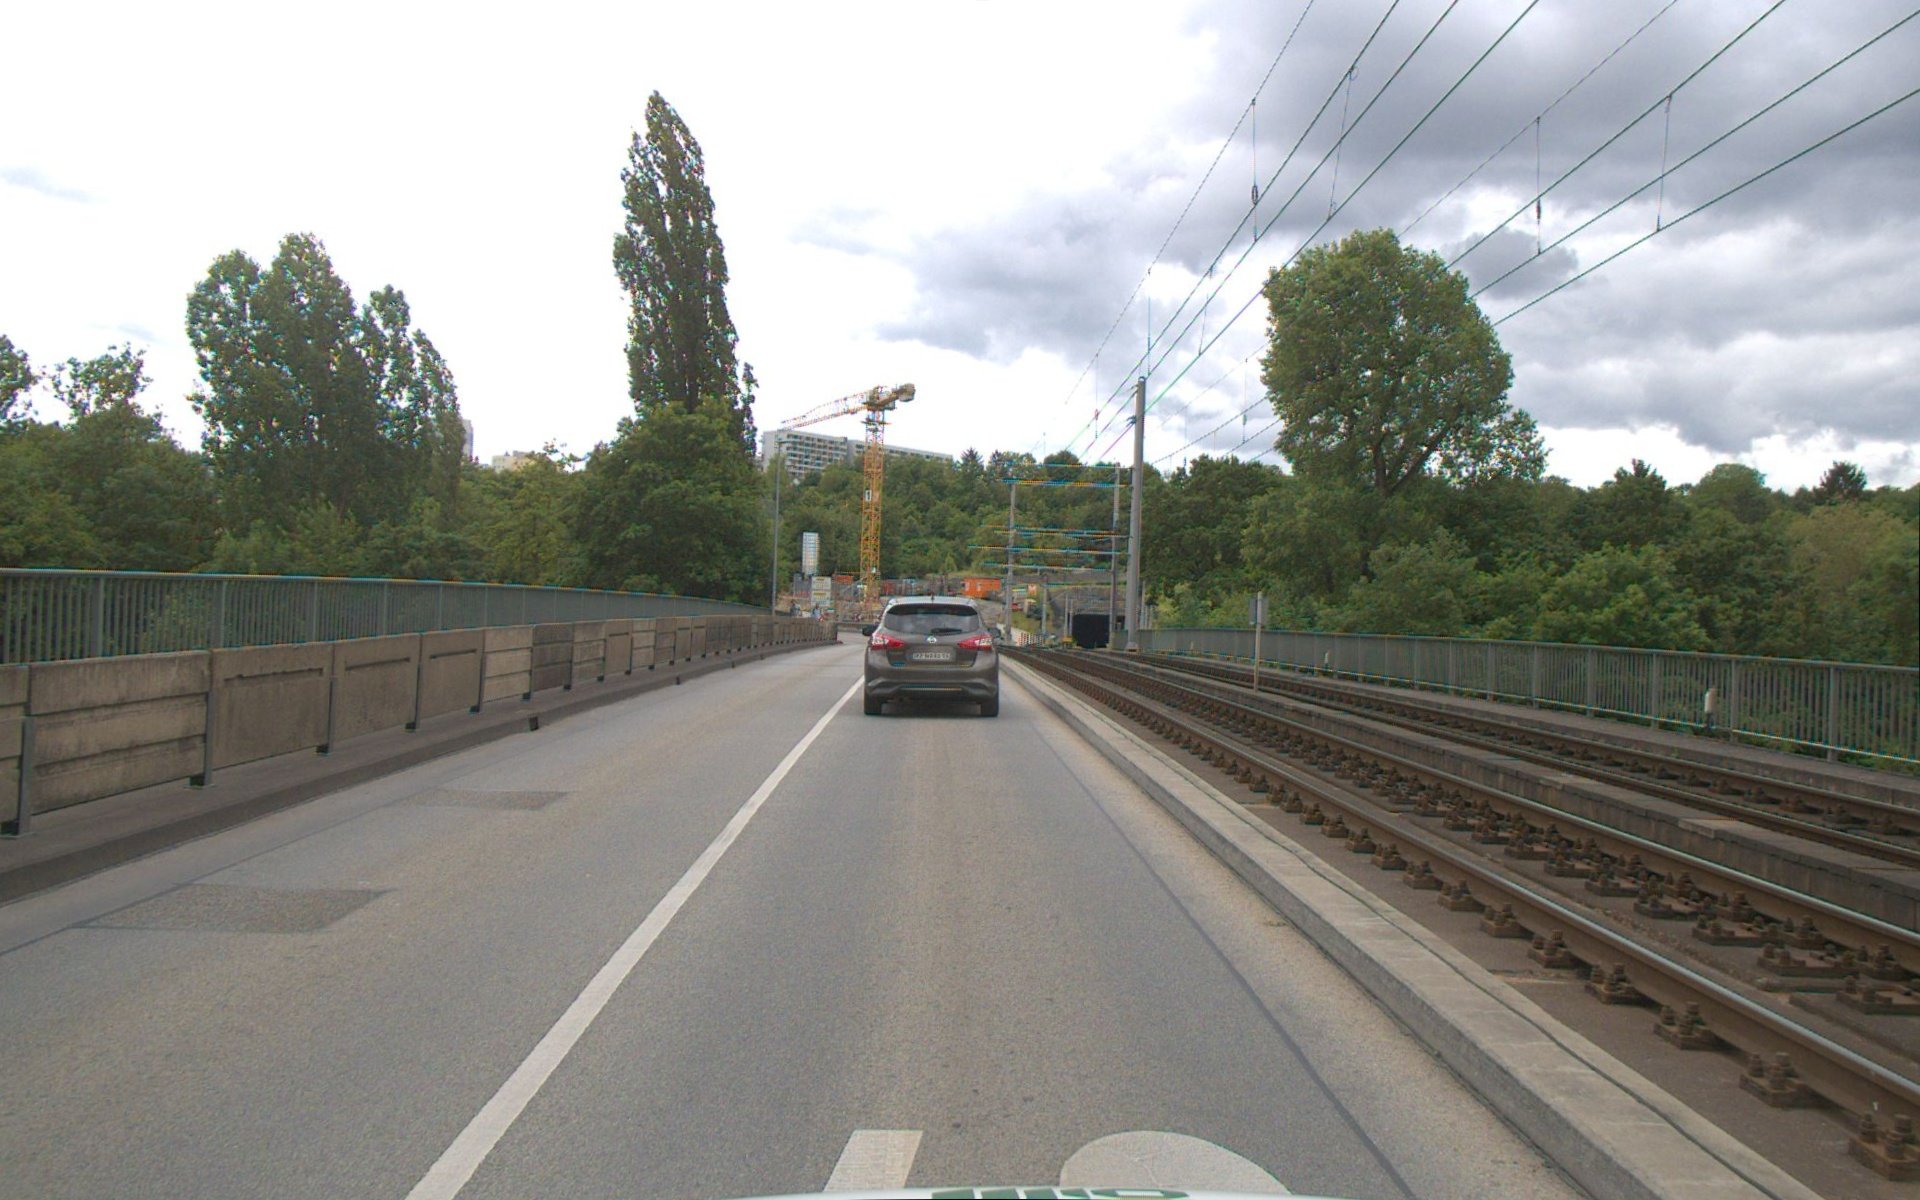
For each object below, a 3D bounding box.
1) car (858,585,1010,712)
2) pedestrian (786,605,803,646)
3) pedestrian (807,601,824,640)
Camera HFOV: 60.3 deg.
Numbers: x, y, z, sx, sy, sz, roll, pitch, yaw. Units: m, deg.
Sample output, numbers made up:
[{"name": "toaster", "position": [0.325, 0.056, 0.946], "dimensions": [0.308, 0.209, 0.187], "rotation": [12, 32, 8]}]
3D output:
[{"name": "car", "position": [-0.439, 0.644, 22.450], "dimensions": [1.794, 1.536, 3.996], "rotation": [1, -1, -4]}, {"name": "pedestrian", "position": [-7.664, 1.192, 76.658], "dimensions": [0.706, 1.872, 0.723], "rotation": [2, -1, -1]}, {"name": "pedestrian", "position": [-6.607, 0.947, 75.725], "dimensions": [0.706, 1.731, 0.723], "rotation": [2, -1, -1]}]
